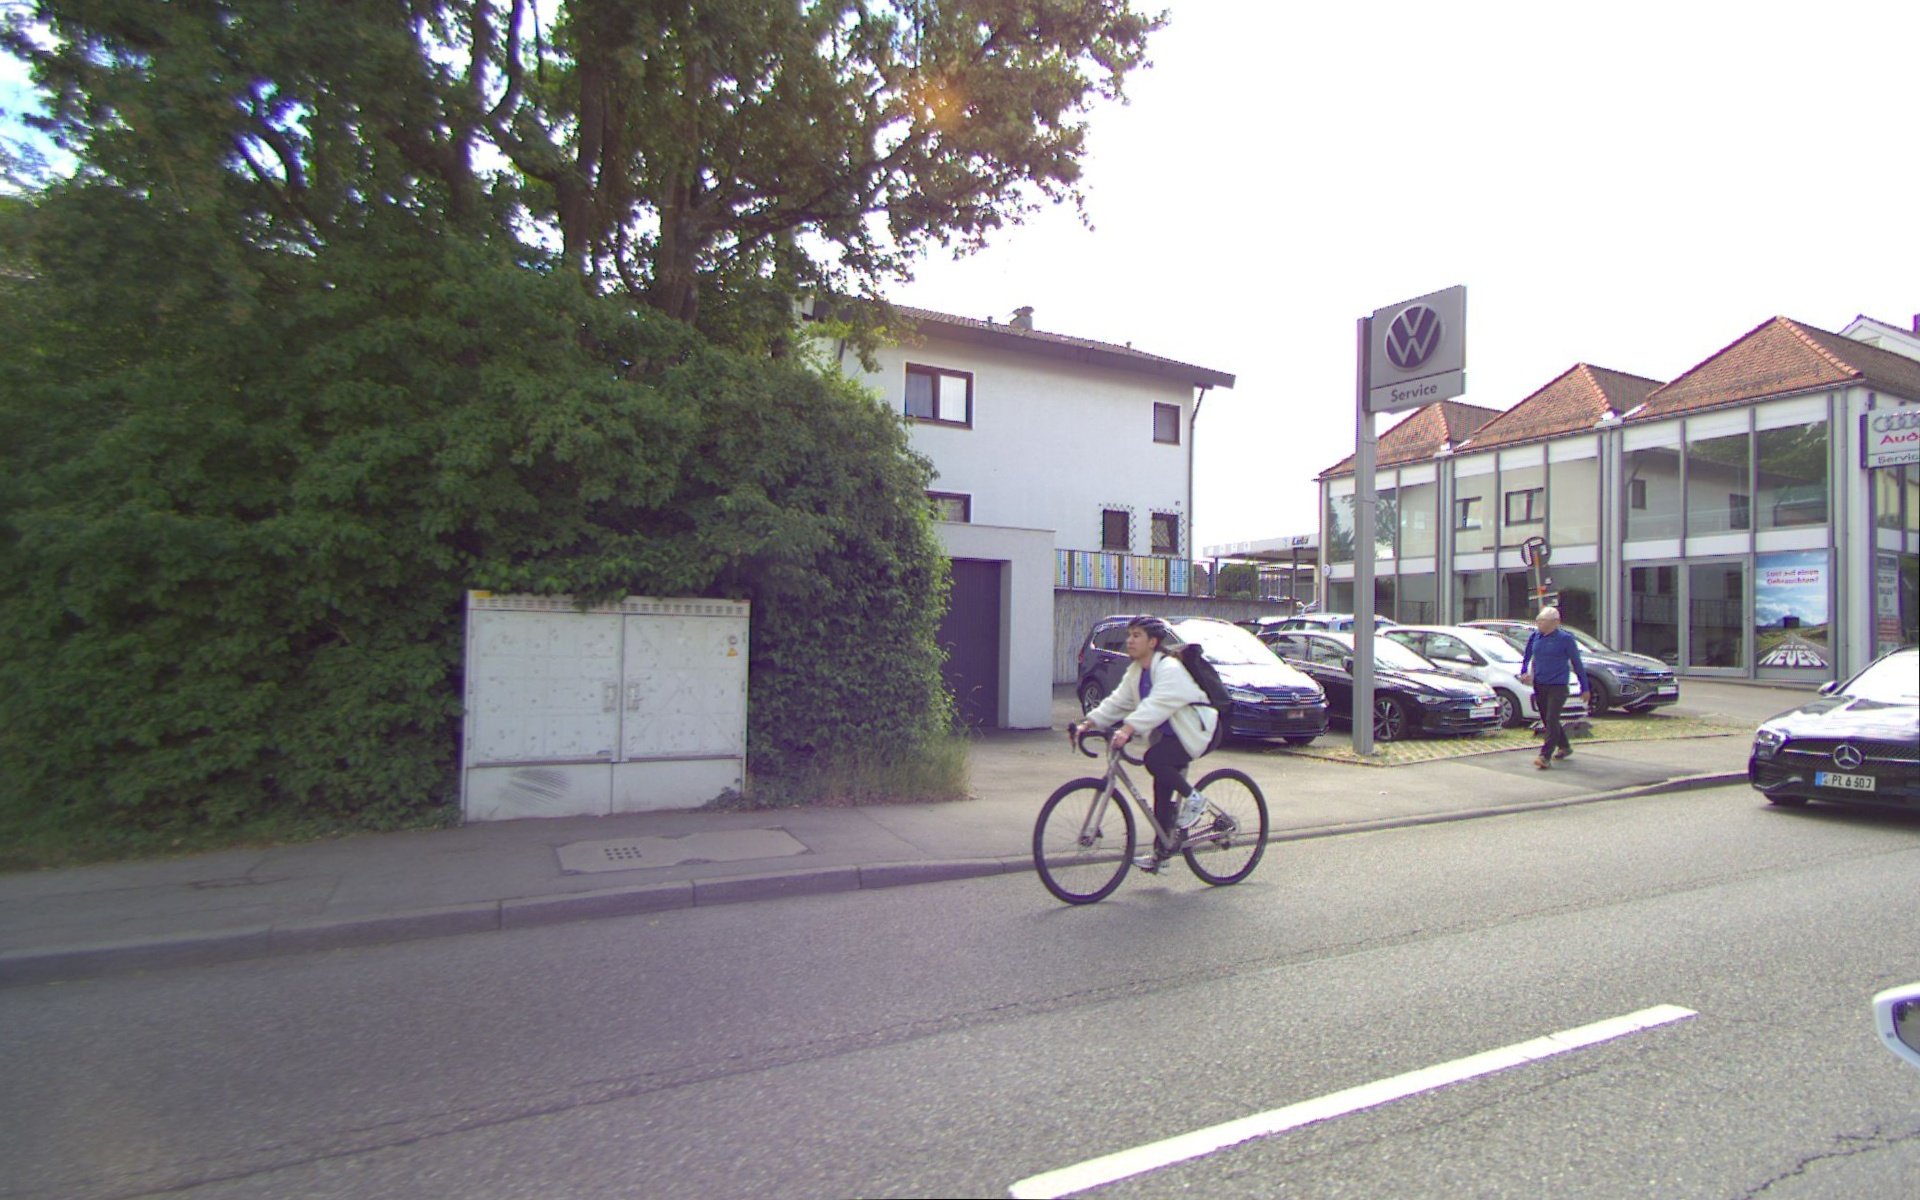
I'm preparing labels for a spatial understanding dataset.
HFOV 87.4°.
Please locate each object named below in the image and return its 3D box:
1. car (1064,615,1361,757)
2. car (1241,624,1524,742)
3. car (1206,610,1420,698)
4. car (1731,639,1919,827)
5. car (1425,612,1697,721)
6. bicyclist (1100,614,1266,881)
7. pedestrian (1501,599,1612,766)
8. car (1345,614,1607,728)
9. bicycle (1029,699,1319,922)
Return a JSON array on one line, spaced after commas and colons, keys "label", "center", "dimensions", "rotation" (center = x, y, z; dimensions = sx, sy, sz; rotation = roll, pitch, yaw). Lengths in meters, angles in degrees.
[{"label": "car", "center": [3.425, 1.082, 14.491], "dimensions": [1.878, 1.663, 4.276], "rotation": [1, -1, -25]}, {"label": "car", "center": [6.214, 1.150, 15.187], "dimensions": [1.707, 1.538, 3.725], "rotation": [1, -2, -28]}, {"label": "car", "center": [7.437, 1.055, 21.107], "dimensions": [4.271, 1.606, 1.799], "rotation": [0, 2, -27]}, {"label": "car", "center": [9.230, 1.093, 9.114], "dimensions": [4.464, 1.448, 1.735], "rotation": [1, -3, -26]}, {"label": "car", "center": [10.794, 1.101, 18.346], "dimensions": [1.633, 1.652, 3.997], "rotation": [1, 1, -28]}, {"label": "bicyclist", "center": [1.324, 0.832, 5.977], "dimensions": [0.854, 1.468, 0.467], "rotation": [1, -3, -30]}, {"label": "pedestrian", "center": [6.561, 0.883, 11.051], "dimensions": [0.857, 1.760, 0.680], "rotation": [2, -1, -27]}, {"label": "car", "center": [8.517, 1.091, 16.915], "dimensions": [1.515, 1.581, 3.724], "rotation": [1, 1, -28]}, {"label": "bicycle", "center": [1.305, 1.171, 5.955], "dimensions": [1.848, 1.101, 0.452], "rotation": [1, -3, -30]}]
